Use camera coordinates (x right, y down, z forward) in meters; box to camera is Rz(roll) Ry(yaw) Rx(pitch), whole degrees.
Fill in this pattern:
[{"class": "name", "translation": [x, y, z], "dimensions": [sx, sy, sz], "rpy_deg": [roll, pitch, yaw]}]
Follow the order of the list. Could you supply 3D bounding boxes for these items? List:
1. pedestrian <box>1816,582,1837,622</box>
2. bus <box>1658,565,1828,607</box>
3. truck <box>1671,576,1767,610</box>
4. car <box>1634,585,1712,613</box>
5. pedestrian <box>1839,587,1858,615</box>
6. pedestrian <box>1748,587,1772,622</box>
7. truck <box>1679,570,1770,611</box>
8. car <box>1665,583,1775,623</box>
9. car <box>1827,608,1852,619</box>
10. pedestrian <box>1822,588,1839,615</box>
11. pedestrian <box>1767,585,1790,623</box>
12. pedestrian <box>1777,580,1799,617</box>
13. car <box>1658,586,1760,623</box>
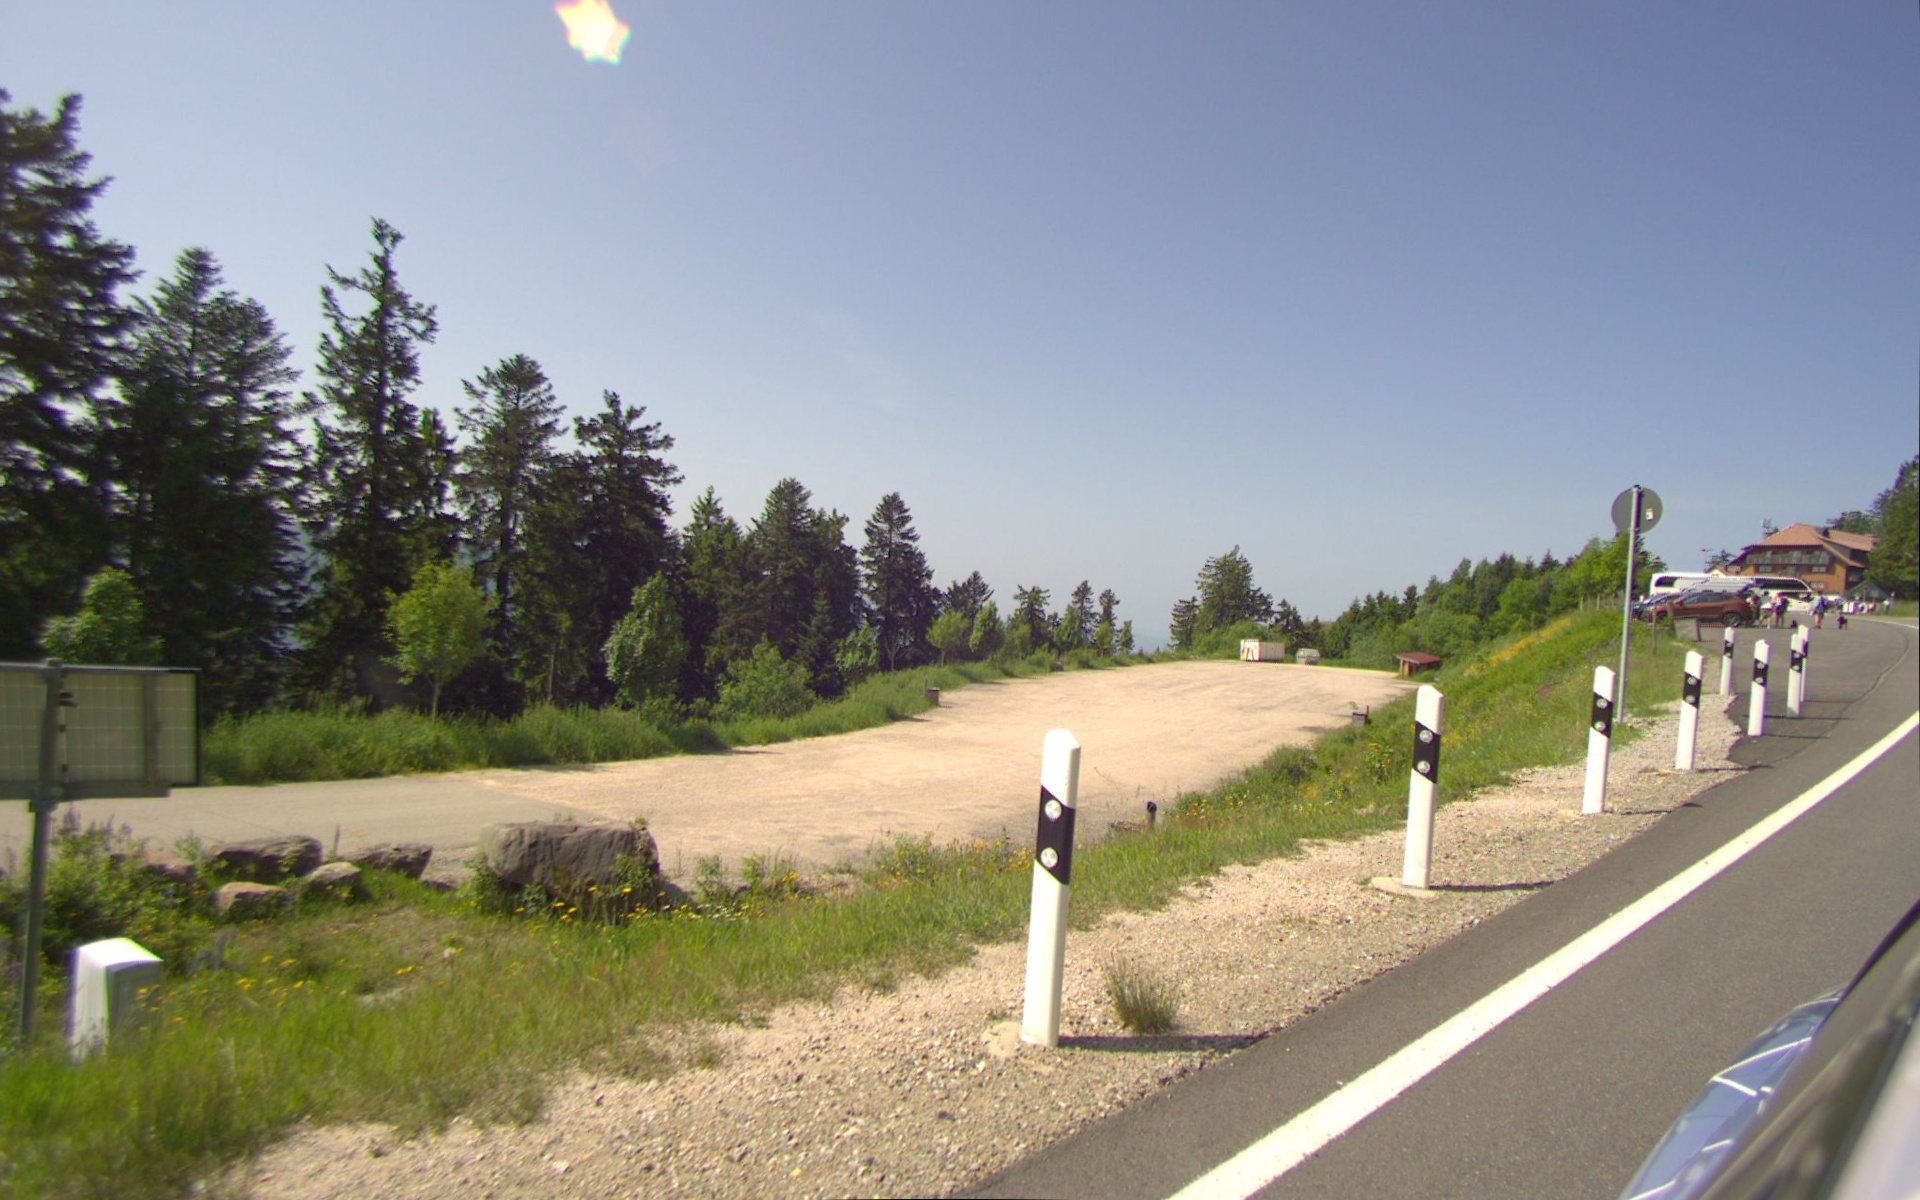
[{"class": "pedestrian", "translation": [39.659, 0.088, 46.318], "dimensions": [0.712, 1.797, 0.617], "rpy_deg": [0, 1, -45]}, {"class": "bus", "translation": [75.965, -1.425, 98.576], "dimensions": [12.827, 3.621, 2.799], "rpy_deg": [3, 2, 39]}, {"class": "truck", "translation": [63.605, -0.610, 84.926], "dimensions": [6.250, 2.623, 2.308], "rpy_deg": [3, 1, 38]}, {"class": "car", "translation": [44.979, -0.056, 63.976], "dimensions": [3.973, 1.668, 1.580], "rpy_deg": [0, 0, 35]}, {"class": "pedestrian", "translation": [57.990, 0.062, 66.061], "dimensions": [0.761, 1.782, 0.756], "rpy_deg": [1, 1, -38]}, {"class": "pedestrian", "translation": [37.996, 0.221, 48.075], "dimensions": [0.721, 1.607, 0.619], "rpy_deg": [3, 1, -33]}, {"class": "truck", "translation": [65.831, -0.827, 87.306], "dimensions": [6.047, 3.235, 2.500], "rpy_deg": [3, 2, 36]}, {"class": "car", "translation": [38.348, 0.099, 51.105], "dimensions": [4.262, 1.816, 1.864], "rpy_deg": [2, 2, 42]}, {"class": "car", "translation": [132.791, 2.028, 152.807], "dimensions": [3.069, 1.572, 1.719], "rpy_deg": [2, 1, -23]}, {"class": "pedestrian", "translation": [57.361, 0.093, 66.678], "dimensions": [0.878, 1.762, 0.666], "rpy_deg": [1, 1, -39]}, {"class": "pedestrian", "translation": [37.726, 0.184, 46.650], "dimensions": [0.675, 1.681, 0.654], "rpy_deg": [3, 1, -39]}, {"class": "pedestrian", "translation": [38.925, -0.074, 47.582], "dimensions": [0.609, 1.713, 0.716], "rpy_deg": [0, 1, -45]}, {"class": "car", "translation": [35.608, 0.190, 48.223], "dimensions": [3.802, 1.682, 1.633], "rpy_deg": [0, 0, 34]}]
